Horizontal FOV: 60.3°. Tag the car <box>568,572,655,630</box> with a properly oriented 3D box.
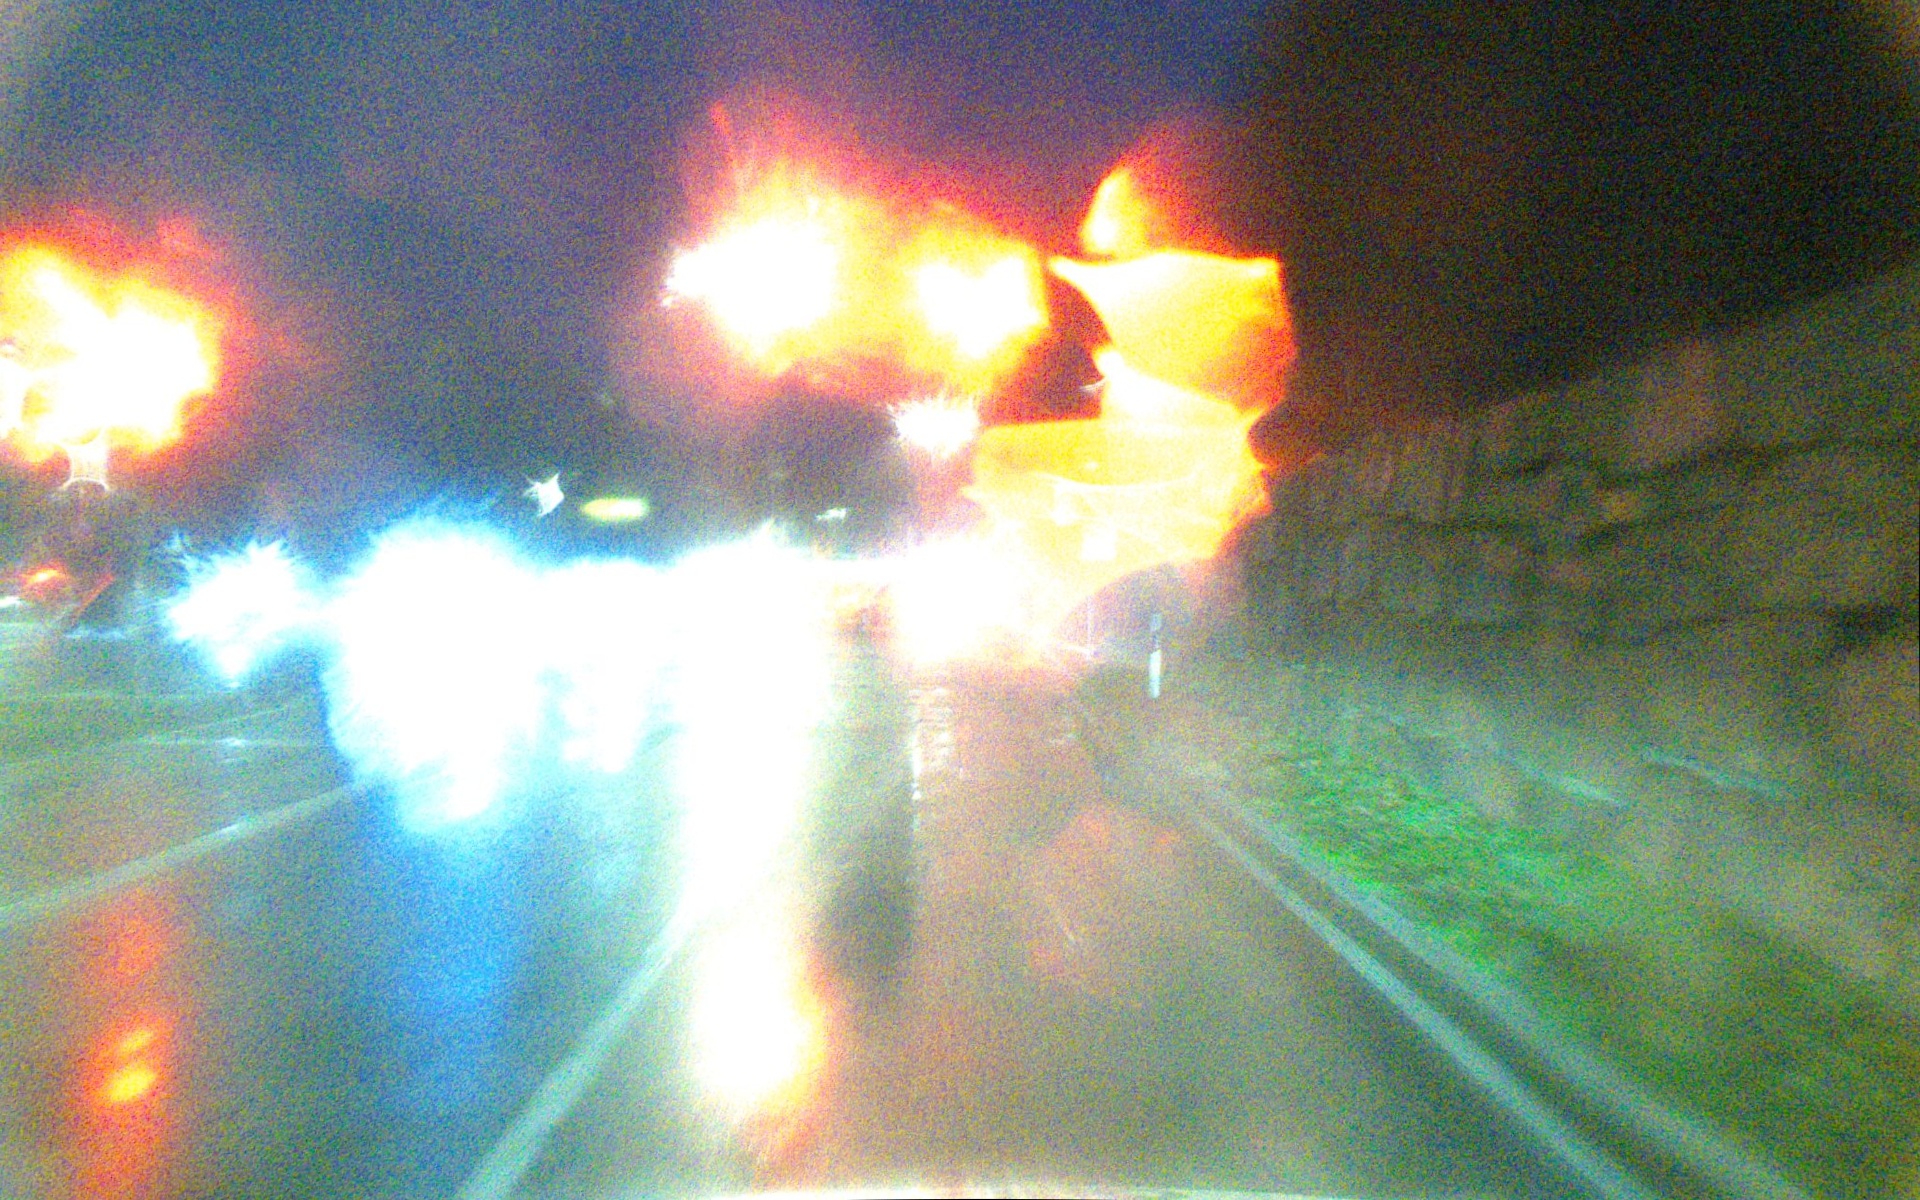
[{"bbox_3d":[-10.316,0.003,49.245,1.664,1.599,4.711,1,1,-2],"label":"car"}]

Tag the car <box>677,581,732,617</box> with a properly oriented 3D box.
[{"bbox_3d":[-11.521,-0.036,74.837,1.953,1.557,3.998,1,0,-2],"label":"car"}]

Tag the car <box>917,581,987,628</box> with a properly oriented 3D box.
[{"bbox_3d":[-0.228,0.143,51.706,2.063,1.363,4.294,1,0,0],"label":"car"}]

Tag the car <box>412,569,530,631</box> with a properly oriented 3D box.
[{"bbox_3d":[-13.464,-0.032,45.843,1.755,1.599,4.914,1,1,0],"label":"car"}]

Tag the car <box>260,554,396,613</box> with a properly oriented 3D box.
[{"bbox_3d":[-20.909,-0.555,54.773,3.956,1.863,1.700,0,1,-37],"label":"car"}]

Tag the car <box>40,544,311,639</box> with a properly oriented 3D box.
[{"bbox_3d":[-14.407,-0.147,30.569,4.007,1.639,1.999,1,0,-2],"label":"car"}]

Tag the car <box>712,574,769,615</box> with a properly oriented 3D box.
[{"bbox_3d":[-8.755,-0.205,66.231,1.552,1.552,3.654,1,0,4],"label":"car"}]

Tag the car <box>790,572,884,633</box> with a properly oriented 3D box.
[{"bbox_3d":[-3.091,0.073,42.298,2.060,1.464,4.000,1,0,0],"label":"car"}]
